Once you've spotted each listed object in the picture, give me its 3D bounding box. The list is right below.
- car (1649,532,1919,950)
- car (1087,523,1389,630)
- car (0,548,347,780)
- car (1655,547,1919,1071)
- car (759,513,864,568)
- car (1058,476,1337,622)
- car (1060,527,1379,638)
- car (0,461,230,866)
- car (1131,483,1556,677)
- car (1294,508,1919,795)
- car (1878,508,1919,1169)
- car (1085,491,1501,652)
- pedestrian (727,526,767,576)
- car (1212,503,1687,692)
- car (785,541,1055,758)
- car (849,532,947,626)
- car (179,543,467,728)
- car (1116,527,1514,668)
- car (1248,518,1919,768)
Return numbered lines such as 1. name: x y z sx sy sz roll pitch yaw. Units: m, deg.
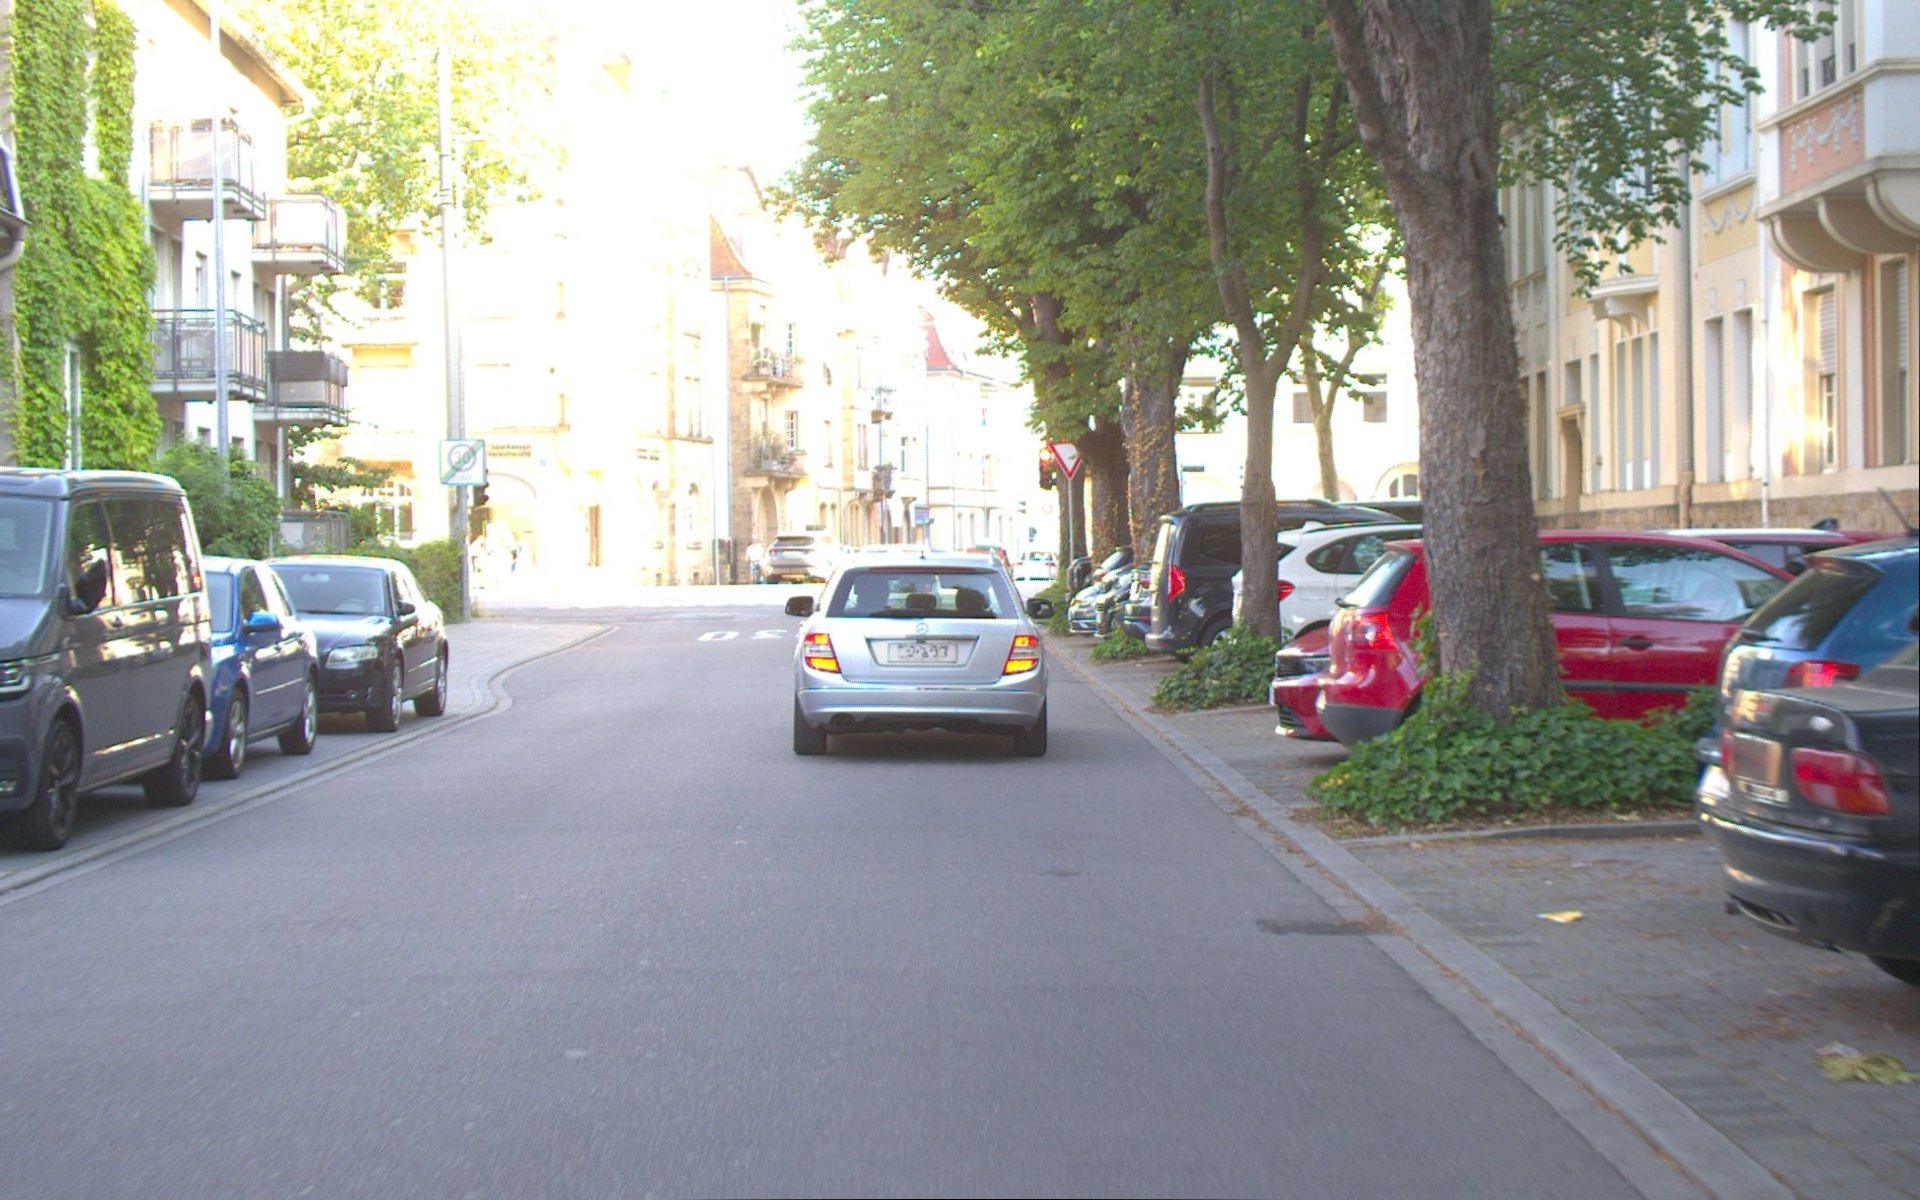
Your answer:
1. car: 4.629 0.474 12.900 3.793 1.478 1.561 0 1 2
2. car: 4.126 -0.372 51.499 4.287 1.535 1.899 0 1 -2
3. car: -5.552 0.381 24.398 1.653 1.442 4.238 1 1 0
4. car: 4.191 0.549 10.388 3.793 1.433 1.818 0 1 -1
5. car: -4.401 -1.776 102.260 1.995 1.579 3.997 0 1 15
6. car: 3.893 -0.855 56.890 4.388 2.356 2.000 0 1 -2
7. car: 3.660 -0.261 48.980 4.287 1.412 1.877 -2 1 -2
8. car: -5.471 0.240 18.892 1.982 1.941 4.852 1 1 -1
9. car: 4.051 -0.227 36.793 4.219 1.890 1.906 -2 1 -2
10. car: 4.149 0.261 20.202 4.190 1.470 1.851 -2 1 2
11. car: 4.398 0.557 7.767 4.146 1.571 1.713 -1 1 -5
12. car: 4.215 -0.388 44.053 5.053 1.982 2.072 0 1 -2
13. pedestrian: -7.438 -1.712 120.024 1.221 1.716 1.503 1 1 3
14. car: 4.502 -0.036 32.061 4.110 1.566 1.877 -2 1 0
15. car: -0.267 0.311 24.787 1.784 1.432 3.851 0 1 0
16. car: -1.062 -0.392 60.351 1.623 1.564 3.680 0 1 0
17. car: -5.429 0.247 29.778 1.695 1.442 4.358 1 1 0
18. car: 4.010 -0.053 39.273 4.287 1.535 1.877 0 1 -2
19. car: 4.194 0.256 22.802 4.411 1.414 1.877 -2 1 2
